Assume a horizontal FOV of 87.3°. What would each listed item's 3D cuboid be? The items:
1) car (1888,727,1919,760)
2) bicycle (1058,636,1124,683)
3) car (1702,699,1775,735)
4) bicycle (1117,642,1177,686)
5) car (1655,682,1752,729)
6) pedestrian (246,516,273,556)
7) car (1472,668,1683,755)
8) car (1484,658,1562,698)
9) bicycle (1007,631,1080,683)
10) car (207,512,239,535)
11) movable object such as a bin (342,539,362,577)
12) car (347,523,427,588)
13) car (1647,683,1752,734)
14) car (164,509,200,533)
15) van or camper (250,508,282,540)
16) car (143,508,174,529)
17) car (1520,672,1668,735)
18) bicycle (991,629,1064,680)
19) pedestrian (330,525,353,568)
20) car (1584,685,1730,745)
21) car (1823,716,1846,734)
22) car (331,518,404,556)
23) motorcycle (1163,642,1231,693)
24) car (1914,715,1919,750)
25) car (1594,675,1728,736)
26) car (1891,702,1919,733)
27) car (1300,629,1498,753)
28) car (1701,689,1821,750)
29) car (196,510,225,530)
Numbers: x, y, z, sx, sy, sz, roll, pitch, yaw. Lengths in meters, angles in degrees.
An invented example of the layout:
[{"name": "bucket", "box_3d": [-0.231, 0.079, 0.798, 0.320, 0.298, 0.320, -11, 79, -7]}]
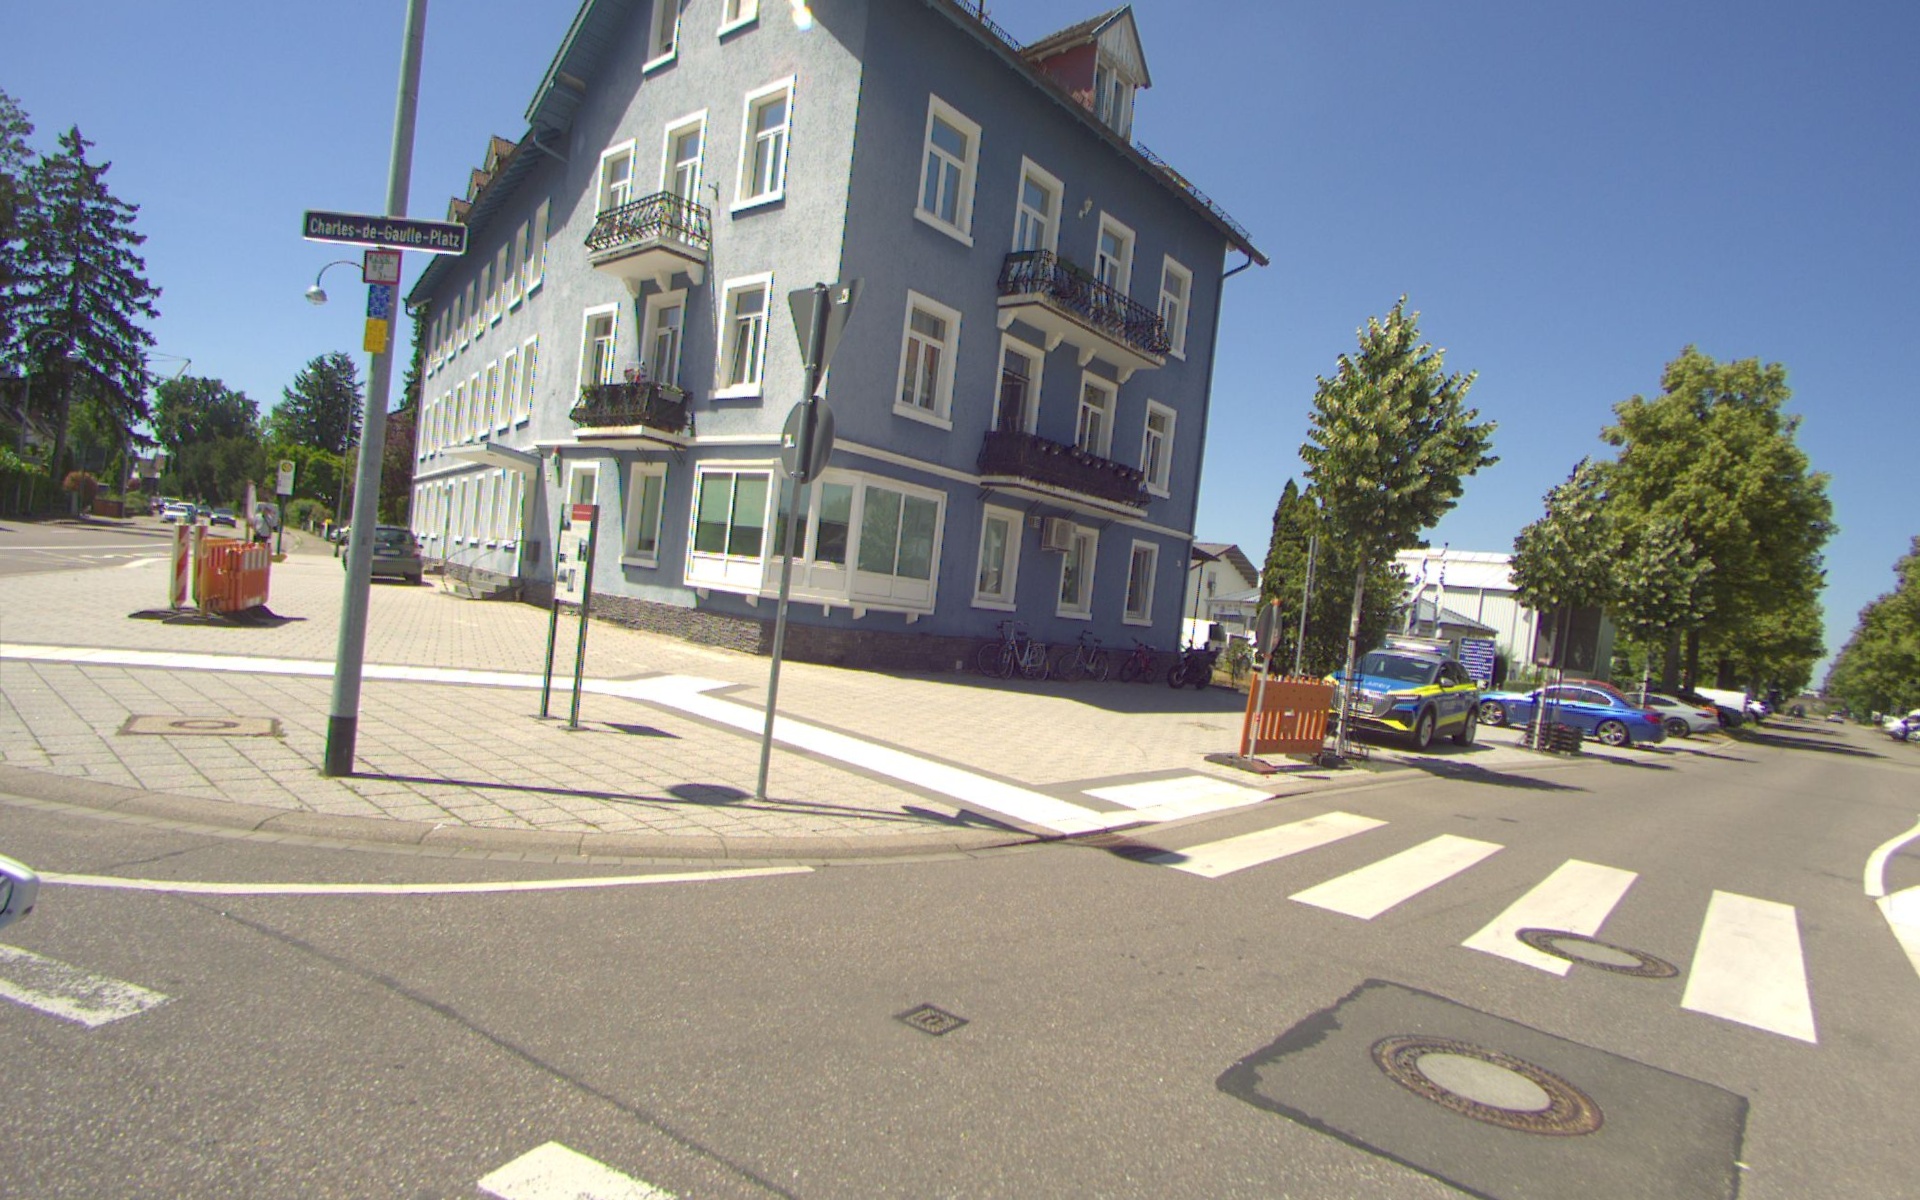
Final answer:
[{"name": "car", "box_3d": [67.489, 10.199, 69.979, 3.938, 2.038, 1.993, 7, 0, 36]}, {"name": "bicycle", "box_3d": [2.974, 1.348, 22.707, 0.474, 0.918, 1.704, 10, 2, 42]}, {"name": "car", "box_3d": [57.285, 8.583, 74.030, 3.945, 1.885, 1.988, 7, 3, 42]}, {"name": "bicycle", "box_3d": [4.564, 1.568, 24.481, 0.474, 0.918, 1.704, 10, 2, 42]}, {"name": "car", "box_3d": [40.694, 5.732, 55.095, 3.945, 1.885, 1.988, 7, 3, 42]}, {"name": "pedestrian", "box_3d": [-23.896, -2.175, 34.332, 0.660, 1.304, 0.583, 2, 3, -26]}, {"name": "car", "box_3d": [16.121, 2.890, 26.357, 4.404, 1.496, 1.901, 7, -3, 39]}, {"name": "car", "box_3d": [37.136, 5.129, 66.382, 3.946, 1.882, 1.991, 8, 0, 43]}, {"name": "bicycle", "box_3d": [1.735, 1.184, 20.669, 0.434, 0.918, 1.704, 10, 2, 42]}, {"name": "car", "box_3d": [-66.117, -6.846, 90.277, 1.981, 1.738, 3.963, 7, 0, -34]}, {"name": "movable object such as a bin", "box_3d": [-18.565, -1.280, 30.729, 0.279, 1.138, 1.179, 4, 1, -22]}, {"name": "car", "box_3d": [-15.577, -1.228, 27.294, 1.627, 1.528, 3.531, 3, 3, -33]}, {"name": "car", "box_3d": [37.210, 5.429, 50.650, 3.945, 1.881, 1.992, 7, -1, 42]}, {"name": "car", "box_3d": [-63.786, -6.453, 82.520, 1.982, 1.671, 3.962, 7, 0, -35]}, {"name": "van or camper", "box_3d": [-65.423, -7.190, 94.795, 2.193, 2.643, 3.962, 7, 0, -35]}, {"name": "car", "box_3d": [-95.598, -9.766, 119.996, 3.941, 2.038, 1.993, 7, 0, 38]}, {"name": "car", "box_3d": [21.916, 3.547, 34.844, 3.945, 1.549, 1.990, 7, 0, 42]}, {"name": "bicycle", "box_3d": [1.429, 1.154, 21.008, 0.434, 0.918, 1.704, 10, 2, 42]}, {"name": "pedestrian", "box_3d": [-24.045, -2.088, 39.109, 0.660, 1.616, 0.583, 2, 3, -26]}, {"name": "car", "box_3d": [24.586, 4.025, 35.541, 3.945, 1.465, 1.990, 7, 0, 42]}, {"name": "car", "box_3d": [117.396, 16.821, 135.111, 1.971, 2.038, 3.984, 7, 0, 39]}, {"name": "car", "box_3d": [-41.523, -4.391, 70.531, 3.970, 2.038, 1.978, 7, 0, -40]}, {"name": "motorcycle", "box_3d": [5.786, 1.660, 24.472, 1.895, 1.065, 0.580, 7, 2, -45]}, {"name": "car", "box_3d": [59.322, 8.150, 59.400, 3.938, 2.038, 1.993, 7, 0, 36]}, {"name": "car", "box_3d": [27.828, 4.178, 40.027, 1.988, 1.805, 3.949, 6, 0, -44]}, {"name": "car", "box_3d": [72.126, 8.929, 73.900, 5.198, 2.038, 2.227, 7, 0, 39]}, {"name": "car", "box_3d": [8.089, 1.671, 18.324, 1.880, 1.765, 4.228, 8, 1, 42]}, {"name": "car", "box_3d": [35.570, 5.311, 44.741, 3.943, 2.037, 1.992, 6, -1, 41]}, {"name": "car", "box_3d": [-94.290, -10.075, 126.504, 3.944, 2.039, 1.990, 7, 0, 42]}]
